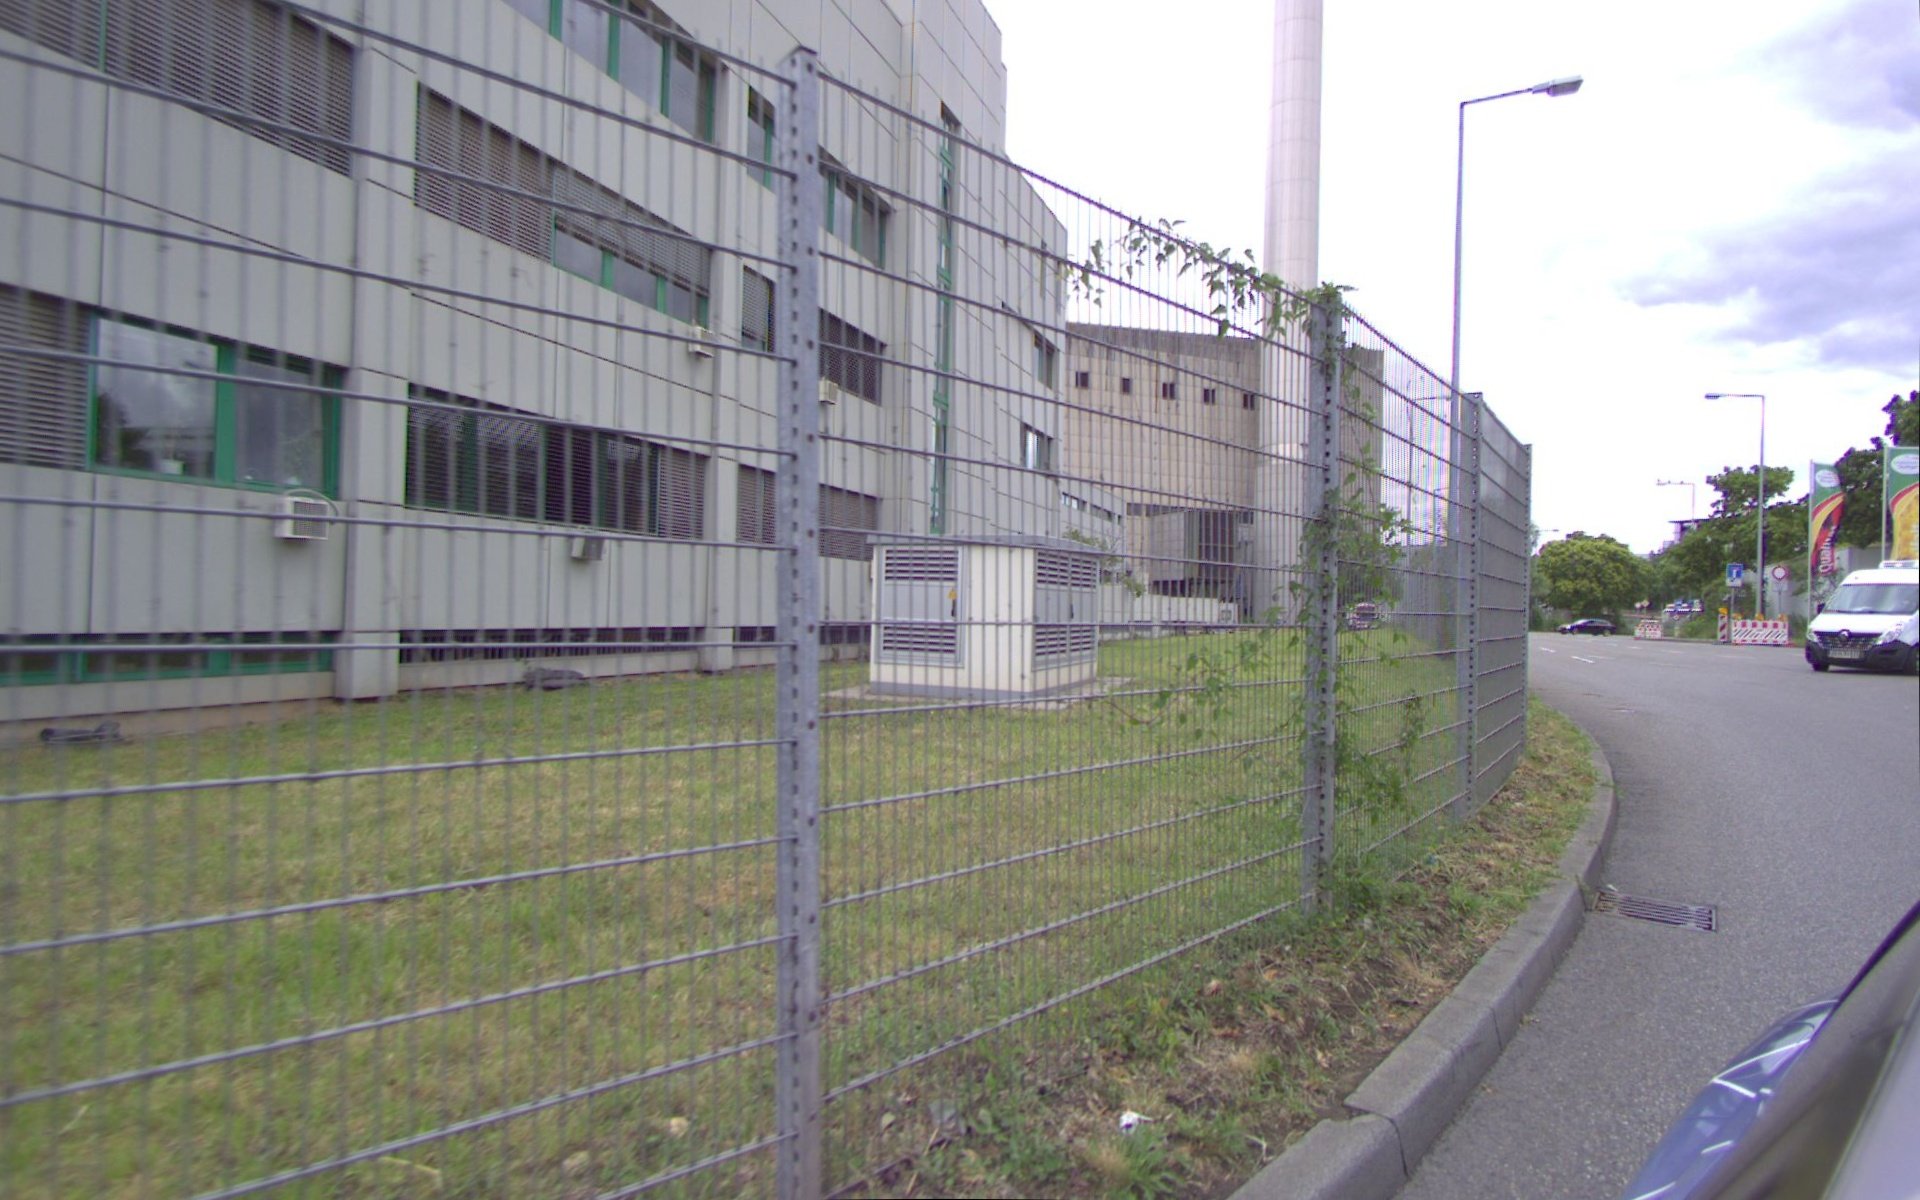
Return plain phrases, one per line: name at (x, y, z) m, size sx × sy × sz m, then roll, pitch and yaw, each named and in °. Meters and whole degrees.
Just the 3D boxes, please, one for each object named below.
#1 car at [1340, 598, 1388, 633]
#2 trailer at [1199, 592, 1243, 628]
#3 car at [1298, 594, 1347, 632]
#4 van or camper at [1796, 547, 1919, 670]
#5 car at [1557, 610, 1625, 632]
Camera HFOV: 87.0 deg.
car at (32.212, 1.254, 80.875) m, size 2.199 × 2.581 × 5.180 m, roll 0°, pitch -3°, yaw 5°
trailer at (19.676, 0.800, 76.530) m, size 2.621 × 2.576 × 6.415 m, roll 0°, pitch -1°, yaw 9°
car at (28.870, 1.067, 80.817) m, size 2.385 × 2.799 × 5.442 m, roll 0°, pitch -3°, yaw 6°
van or camper at (22.630, 0.201, 23.532) m, size 5.980 × 2.589 × 2.277 m, roll 1°, pitch -1°, yaw -21°
car at (55.253, 1.854, 88.674) m, size 4.545 × 1.833 × 1.995 m, roll 0°, pitch -1°, yaw 9°
